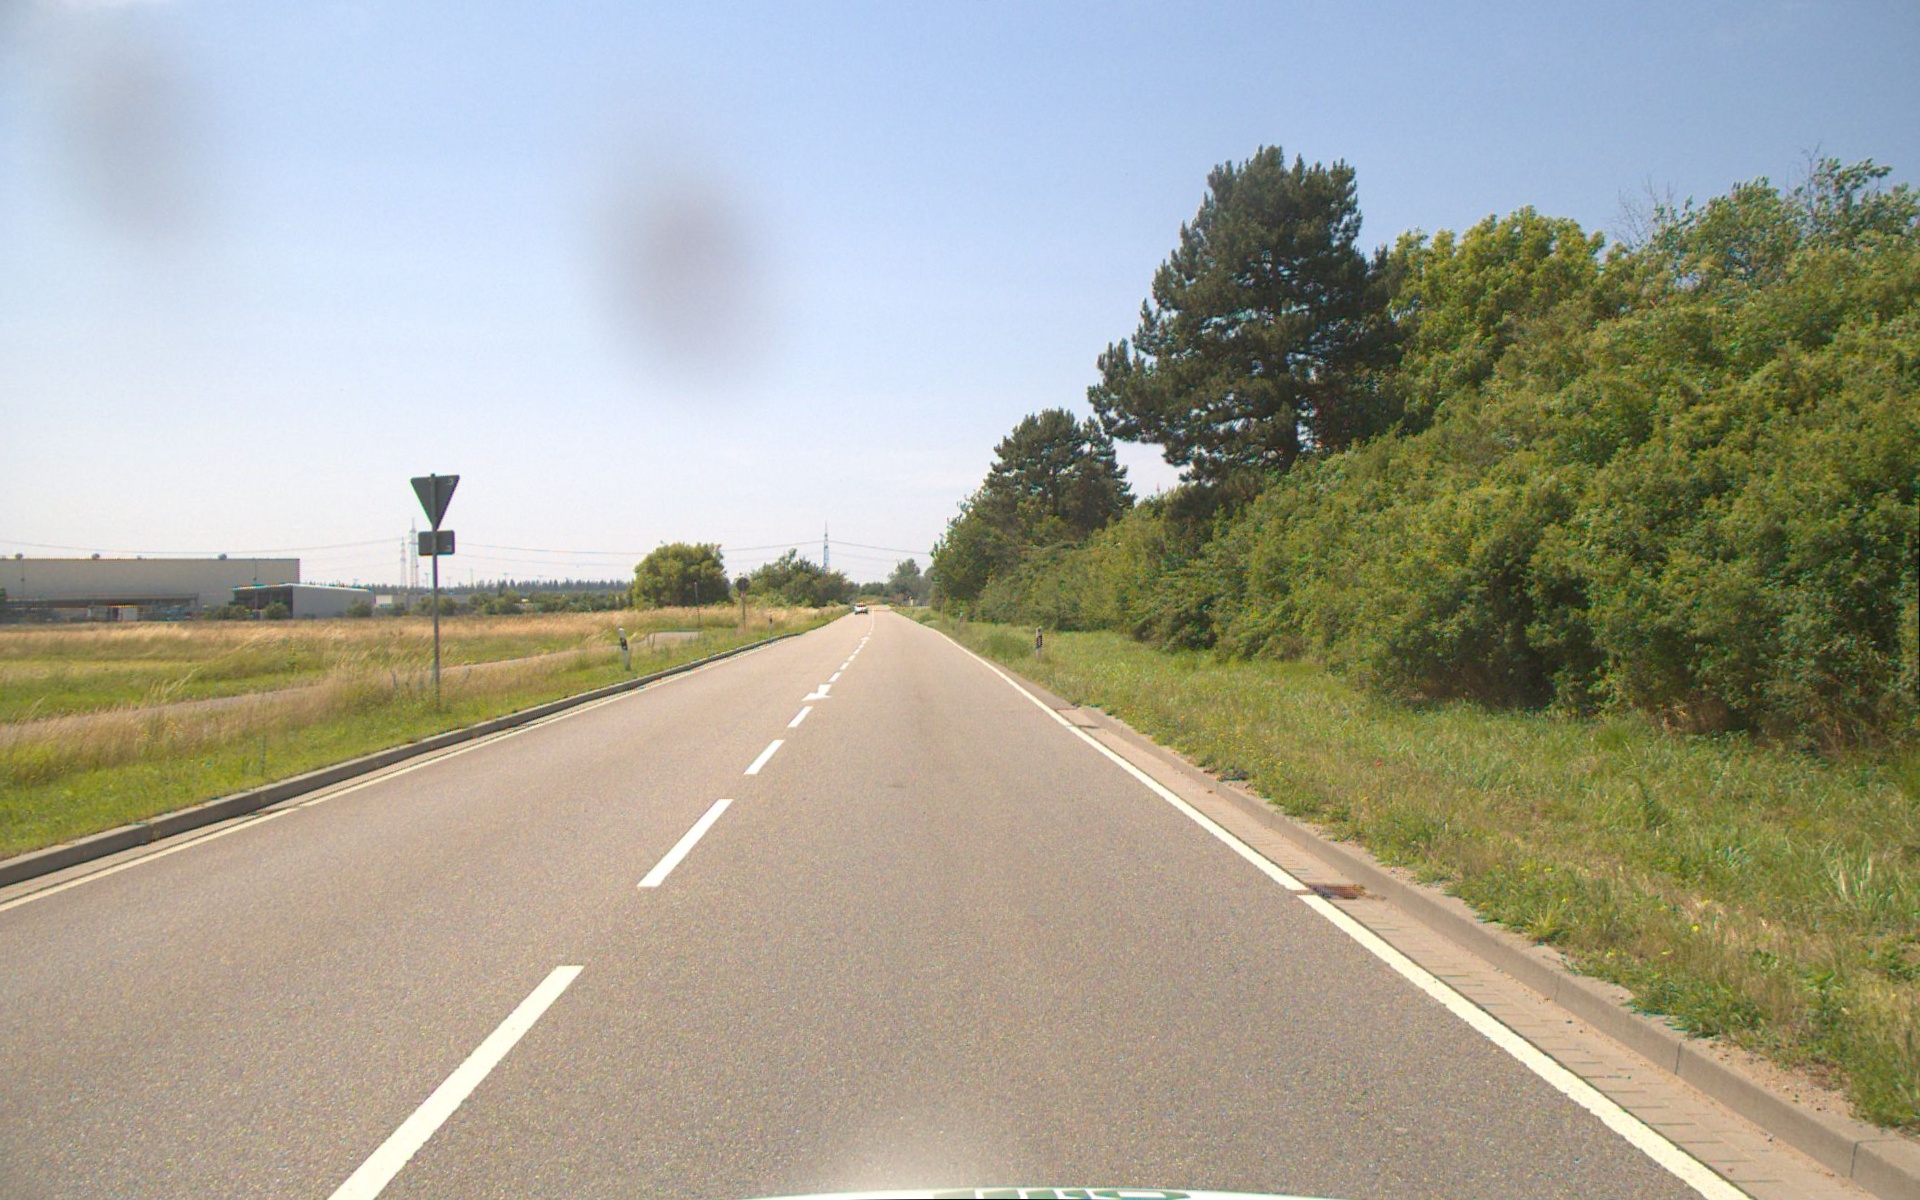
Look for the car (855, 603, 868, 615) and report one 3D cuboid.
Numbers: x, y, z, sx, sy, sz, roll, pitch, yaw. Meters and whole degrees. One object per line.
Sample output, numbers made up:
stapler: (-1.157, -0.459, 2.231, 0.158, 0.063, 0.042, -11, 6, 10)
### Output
car: (-13.424, 1.212, 224.568, 1.645, 1.445, 4.419, -4, 0, -3)
